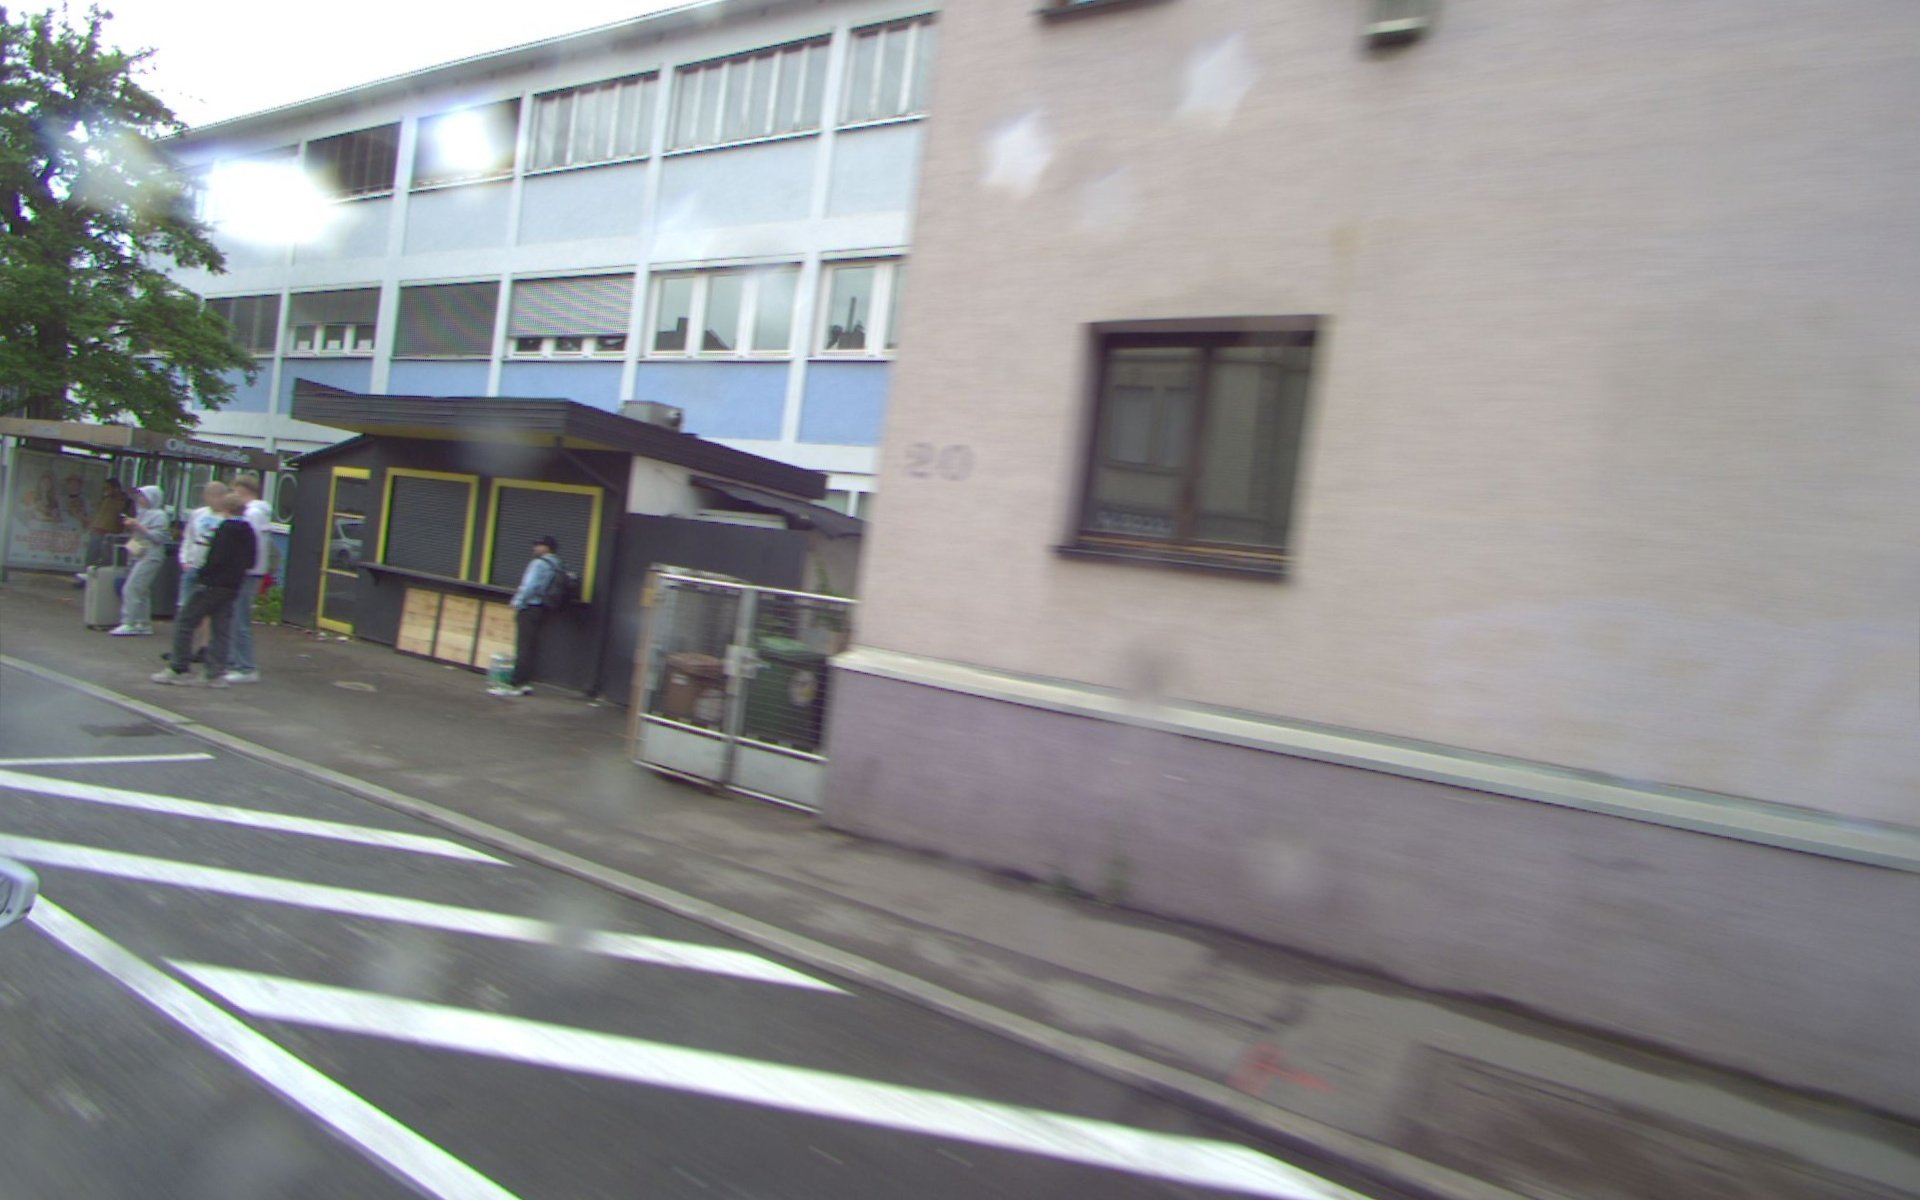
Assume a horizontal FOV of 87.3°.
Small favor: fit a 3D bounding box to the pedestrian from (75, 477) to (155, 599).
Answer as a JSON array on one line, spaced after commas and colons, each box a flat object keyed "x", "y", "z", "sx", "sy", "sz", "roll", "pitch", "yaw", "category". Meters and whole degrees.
[{"x": -13.719, "y": -0.996, "z": 16.335, "sx": 0.728, "sy": 1.855, "sz": 0.647, "roll": 7, "pitch": 2, "yaw": 26, "category": "pedestrian"}]

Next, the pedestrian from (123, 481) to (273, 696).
[{"x": -6.599, "y": -0.099, "z": 8.740, "sx": 0.735, "sy": 1.733, "sz": 0.635, "roll": 5, "pitch": 3, "yaw": -3, "category": "pedestrian"}]

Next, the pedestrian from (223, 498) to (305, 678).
[{"x": -7.003, "y": -0.124, "z": 10.114, "sx": 0.548, "sy": 1.731, "sz": 0.446, "roll": 8, "pitch": 4, "yaw": 36, "category": "pedestrian"}]

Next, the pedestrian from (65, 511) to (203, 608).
[{"x": -12.360, "y": -0.580, "z": 15.085, "sx": 0.728, "sy": 1.290, "sz": 1.358, "roll": 7, "pitch": 1, "yaw": 25, "category": "pedestrian"}]

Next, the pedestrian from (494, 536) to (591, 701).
[{"x": -4.419, "y": 0.182, "z": 10.689, "sx": 0.613, "sy": 1.648, "sz": 0.674, "roll": 6, "pitch": 3, "yaw": 2, "category": "pedestrian"}]

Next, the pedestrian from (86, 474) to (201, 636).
[{"x": -9.486, "y": -0.515, "z": 11.692, "sx": 0.814, "sy": 1.764, "sz": 0.661, "roll": 7, "pitch": 2, "yaw": 26, "category": "pedestrian"}]

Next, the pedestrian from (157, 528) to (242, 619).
[{"x": -10.963, "y": -0.374, "z": 14.507, "sx": 0.728, "sy": 1.214, "sz": 0.661, "roll": 7, "pitch": 2, "yaw": 26, "category": "pedestrian"}]

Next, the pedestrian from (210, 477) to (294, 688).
[{"x": -6.645, "y": -0.164, "z": 9.436, "sx": 0.484, "sy": 1.901, "sz": 0.625, "roll": 3, "pitch": 4, "yaw": -43, "category": "pedestrian"}]

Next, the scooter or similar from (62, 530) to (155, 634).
[{"x": -10.162, "y": -0.206, "z": 12.011, "sx": 0.558, "sy": 1.155, "sz": 0.618, "roll": 7, "pitch": 2, "yaw": 26, "category": "scooter or similar"}]

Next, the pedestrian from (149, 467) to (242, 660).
[{"x": -7.765, "y": -0.367, "z": 10.219, "sx": 0.594, "sy": 1.866, "sz": 0.459, "roll": 7, "pitch": 3, "yaw": 26, "category": "pedestrian"}]
